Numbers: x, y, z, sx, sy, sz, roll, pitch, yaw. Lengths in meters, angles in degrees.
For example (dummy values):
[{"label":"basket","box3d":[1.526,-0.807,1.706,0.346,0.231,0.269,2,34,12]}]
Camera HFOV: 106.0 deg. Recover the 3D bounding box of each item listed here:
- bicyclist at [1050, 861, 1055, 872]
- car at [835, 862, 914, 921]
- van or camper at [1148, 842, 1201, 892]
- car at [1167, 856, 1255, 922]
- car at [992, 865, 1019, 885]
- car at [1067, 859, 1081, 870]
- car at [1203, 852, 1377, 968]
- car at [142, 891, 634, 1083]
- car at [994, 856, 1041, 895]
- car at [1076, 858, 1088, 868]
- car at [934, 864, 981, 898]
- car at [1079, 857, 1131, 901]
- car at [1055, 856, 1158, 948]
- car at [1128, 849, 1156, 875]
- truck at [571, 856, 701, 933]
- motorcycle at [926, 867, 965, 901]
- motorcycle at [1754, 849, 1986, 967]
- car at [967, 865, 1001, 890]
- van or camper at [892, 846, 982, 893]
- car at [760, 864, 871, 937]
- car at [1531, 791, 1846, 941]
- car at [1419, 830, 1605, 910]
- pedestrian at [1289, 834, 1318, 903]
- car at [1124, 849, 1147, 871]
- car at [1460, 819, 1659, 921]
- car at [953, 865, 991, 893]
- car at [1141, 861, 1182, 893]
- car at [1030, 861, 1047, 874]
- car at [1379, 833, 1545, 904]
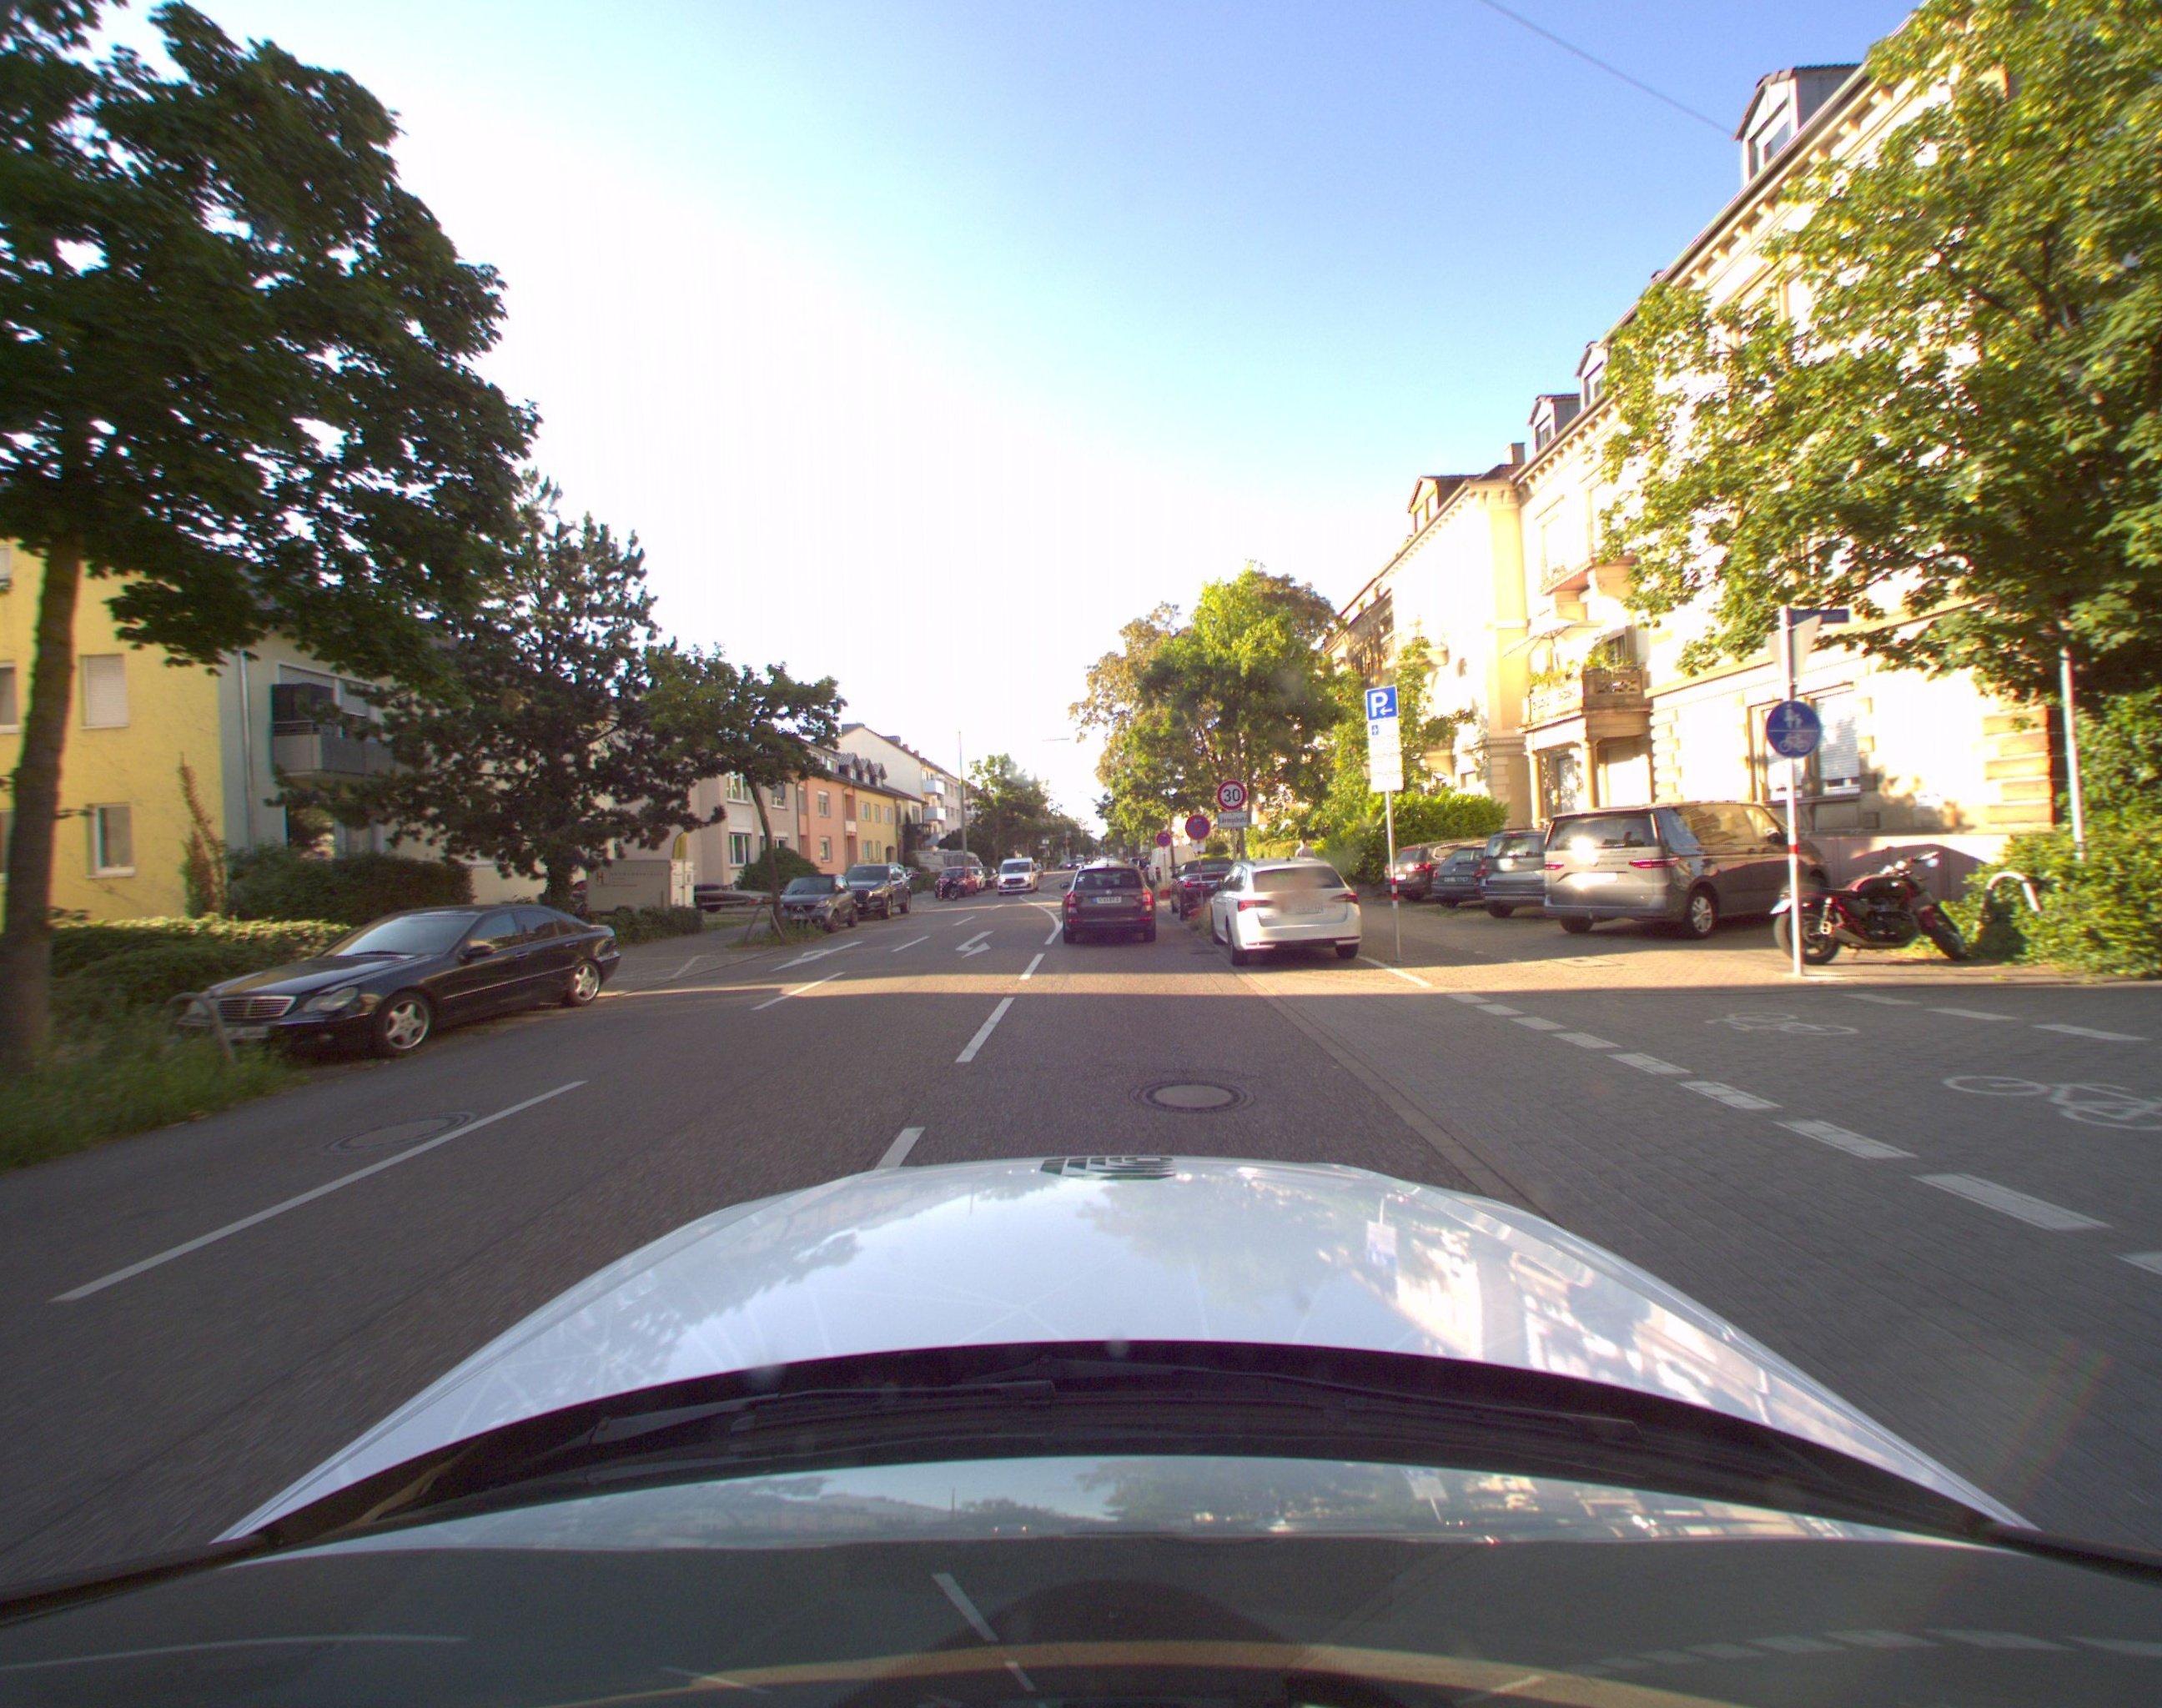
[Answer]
[{"label":"bicyclist","box3d":[-4.331,1.911,124.507,0.712,1.496,0.855,-3,-1,2]},{"label":"car","box3d":[-6.838,1.194,27.323,1.501,1.757,3.695,-3,0,2]},{"label":"van or camper","box3d":[4.109,0.560,36.410,1.986,2.013,4.002,-3,0,2]},{"label":"car","box3d":[3.250,0.817,21.003,1.813,1.413,4.115,-3,0,4]},{"label":"car","box3d":[-5.945,1.630,64.102,1.658,1.432,3.276,-3,0,2]},{"label":"car","box3d":[-1.127,1.653,127.153,1.986,1.508,4.002,-3,0,2]},{"label":"car","box3d":[2.982,0.718,12.519,1.813,1.413,4.115,-3,0,4]},{"label":"car","box3d":[-7.399,1.291,9.473,1.747,1.420,4.428,-3,0,2]},{"label":"car","box3d":[-3.178,1.039,41.619,1.870,1.757,4.180,-3,0,2]},{"label":"car","box3d":[0.196,1.578,144.509,1.986,1.508,4.002,-3,0,2]},{"label":"car","box3d":[-6.415,1.375,42.618,1.658,1.512,4.180,-3,0,2]},{"label":"car","box3d":[0.856,0.916,31.373,1.725,1.493,3.948,-3,0,-2]},{"label":"car","box3d":[0.528,0.831,16.099,1.723,1.493,3.953,-3,0,2]},{"label":"car","box3d":[4.432,0.566,59.715,1.724,1.815,3.950,-3,0,0]},{"label":"truck","box3d":[-13.179,1.164,24.237,2.903,2.093,1.546,-3,0,1]},{"label":"motorcycle","box3d":[-6.273,1.375,37.697,0.771,1.512,2.006,-3,0,-41]},{"label":"motorcycle","box3d":[8.474,0.560,8.774,2.047,1.125,0.525,-3,0,-4]},{"label":"car","box3d":[-6.254,1.488,52.854,1.658,1.432,3.276,-3,0,2]},{"label":"van or camper","box3d":[-13.006,1.399,74.009,7.616,3.874,2.000,-3,0,-1]},{"label":"car","box3d":[-7.265,1.201,22.663,1.744,1.740,3.592,-3,0,2]},{"label":"car","box3d":[9.230,0.093,12.339,4.557,1.892,1.898,-3,0,-26]},{"label":"car","box3d":[9.705,0.334,18.329,3.813,1.525,1.501,-3,0,-20]},{"label":"pedestrian","box3d":[5.969,0.372,21.852,0.532,1.794,0.688,-3,0,4]},{"label":"car","box3d":[4.801,0.531,72.207,1.724,1.815,3.950,-3,0,0]},{"label":"car","box3d":[9.263,0.257,15.722,3.822,1.679,1.498,-3,0,-28]},{"label":"car","box3d":[-6.433,1.448,48.311,1.658,1.432,3.276,-3,0,2]},{"label":"car","box3d":[4.195,1.158,42.924,1.724,1.493,3.950,-3,0,0]},{"label":"car","box3d":[-4.882,1.539,94.412,1.658,1.432,3.276,-3,0,2]},{"label":"car","box3d":[9.570,0.338,20.456,3.813,1.525,1.501,-3,0,-20]}]
